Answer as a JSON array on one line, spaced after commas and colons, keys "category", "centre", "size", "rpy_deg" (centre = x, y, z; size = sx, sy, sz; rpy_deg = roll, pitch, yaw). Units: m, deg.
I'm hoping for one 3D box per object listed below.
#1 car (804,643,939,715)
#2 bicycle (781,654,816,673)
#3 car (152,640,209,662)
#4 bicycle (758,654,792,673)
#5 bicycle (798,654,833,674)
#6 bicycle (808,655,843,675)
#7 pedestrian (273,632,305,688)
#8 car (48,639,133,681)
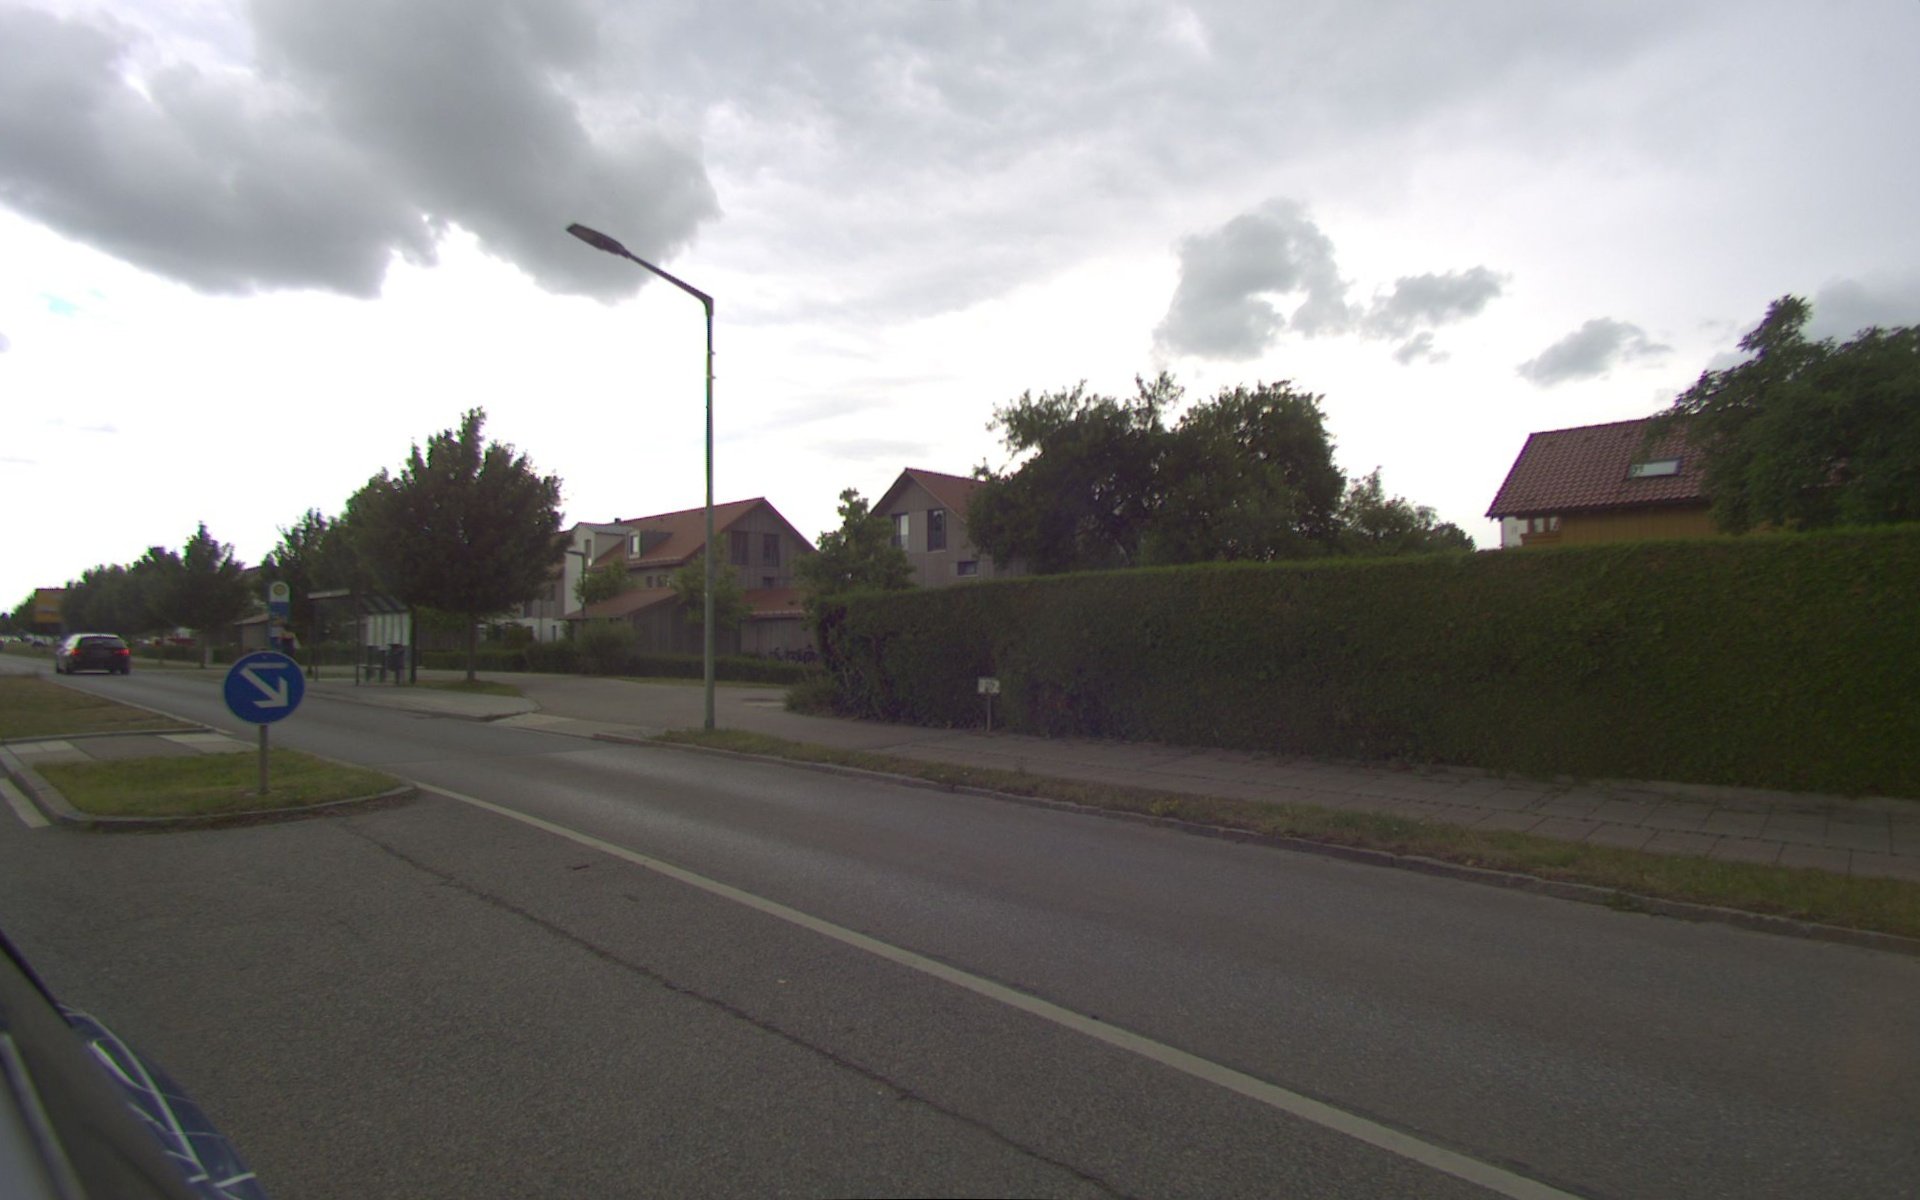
[{"category": "car", "centre": [-2.690, 2.366, 31.377], "size": [1.998, 2.029, 3.946], "rpy_deg": [-2, -3, 40]}, {"category": "bicycle", "centre": [-8.061, 3.167, 50.524], "size": [0.419, 0.916, 1.921], "rpy_deg": [-2, -3, 40]}, {"category": "car", "centre": [-81.399, 5.282, 105.678], "size": [4.505, 2.029, 2.002], "rpy_deg": [-1, -1, -44]}, {"category": "bicycle", "centre": [-9.443, 3.217, 51.680], "size": [0.419, 0.916, 1.921], "rpy_deg": [-2, -3, 40]}, {"category": "bicycle", "centre": [-7.100, 3.137, 49.663], "size": [0.419, 0.916, 1.921], "rpy_deg": [-2, -3, 40]}, {"category": "bicycle", "centre": [-6.528, 3.123, 49.120], "size": [0.419, 0.916, 1.921], "rpy_deg": [-2, -3, 40]}, {"category": "pedestrian", "centre": [-20.025, 1.769, 30.196], "size": [0.812, 1.649, 0.582], "rpy_deg": [-2, -3, 42]}, {"category": "car", "centre": [-32.413, 2.193, 37.676], "size": [4.496, 1.465, 1.899], "rpy_deg": [-2, -3, 43]}]
